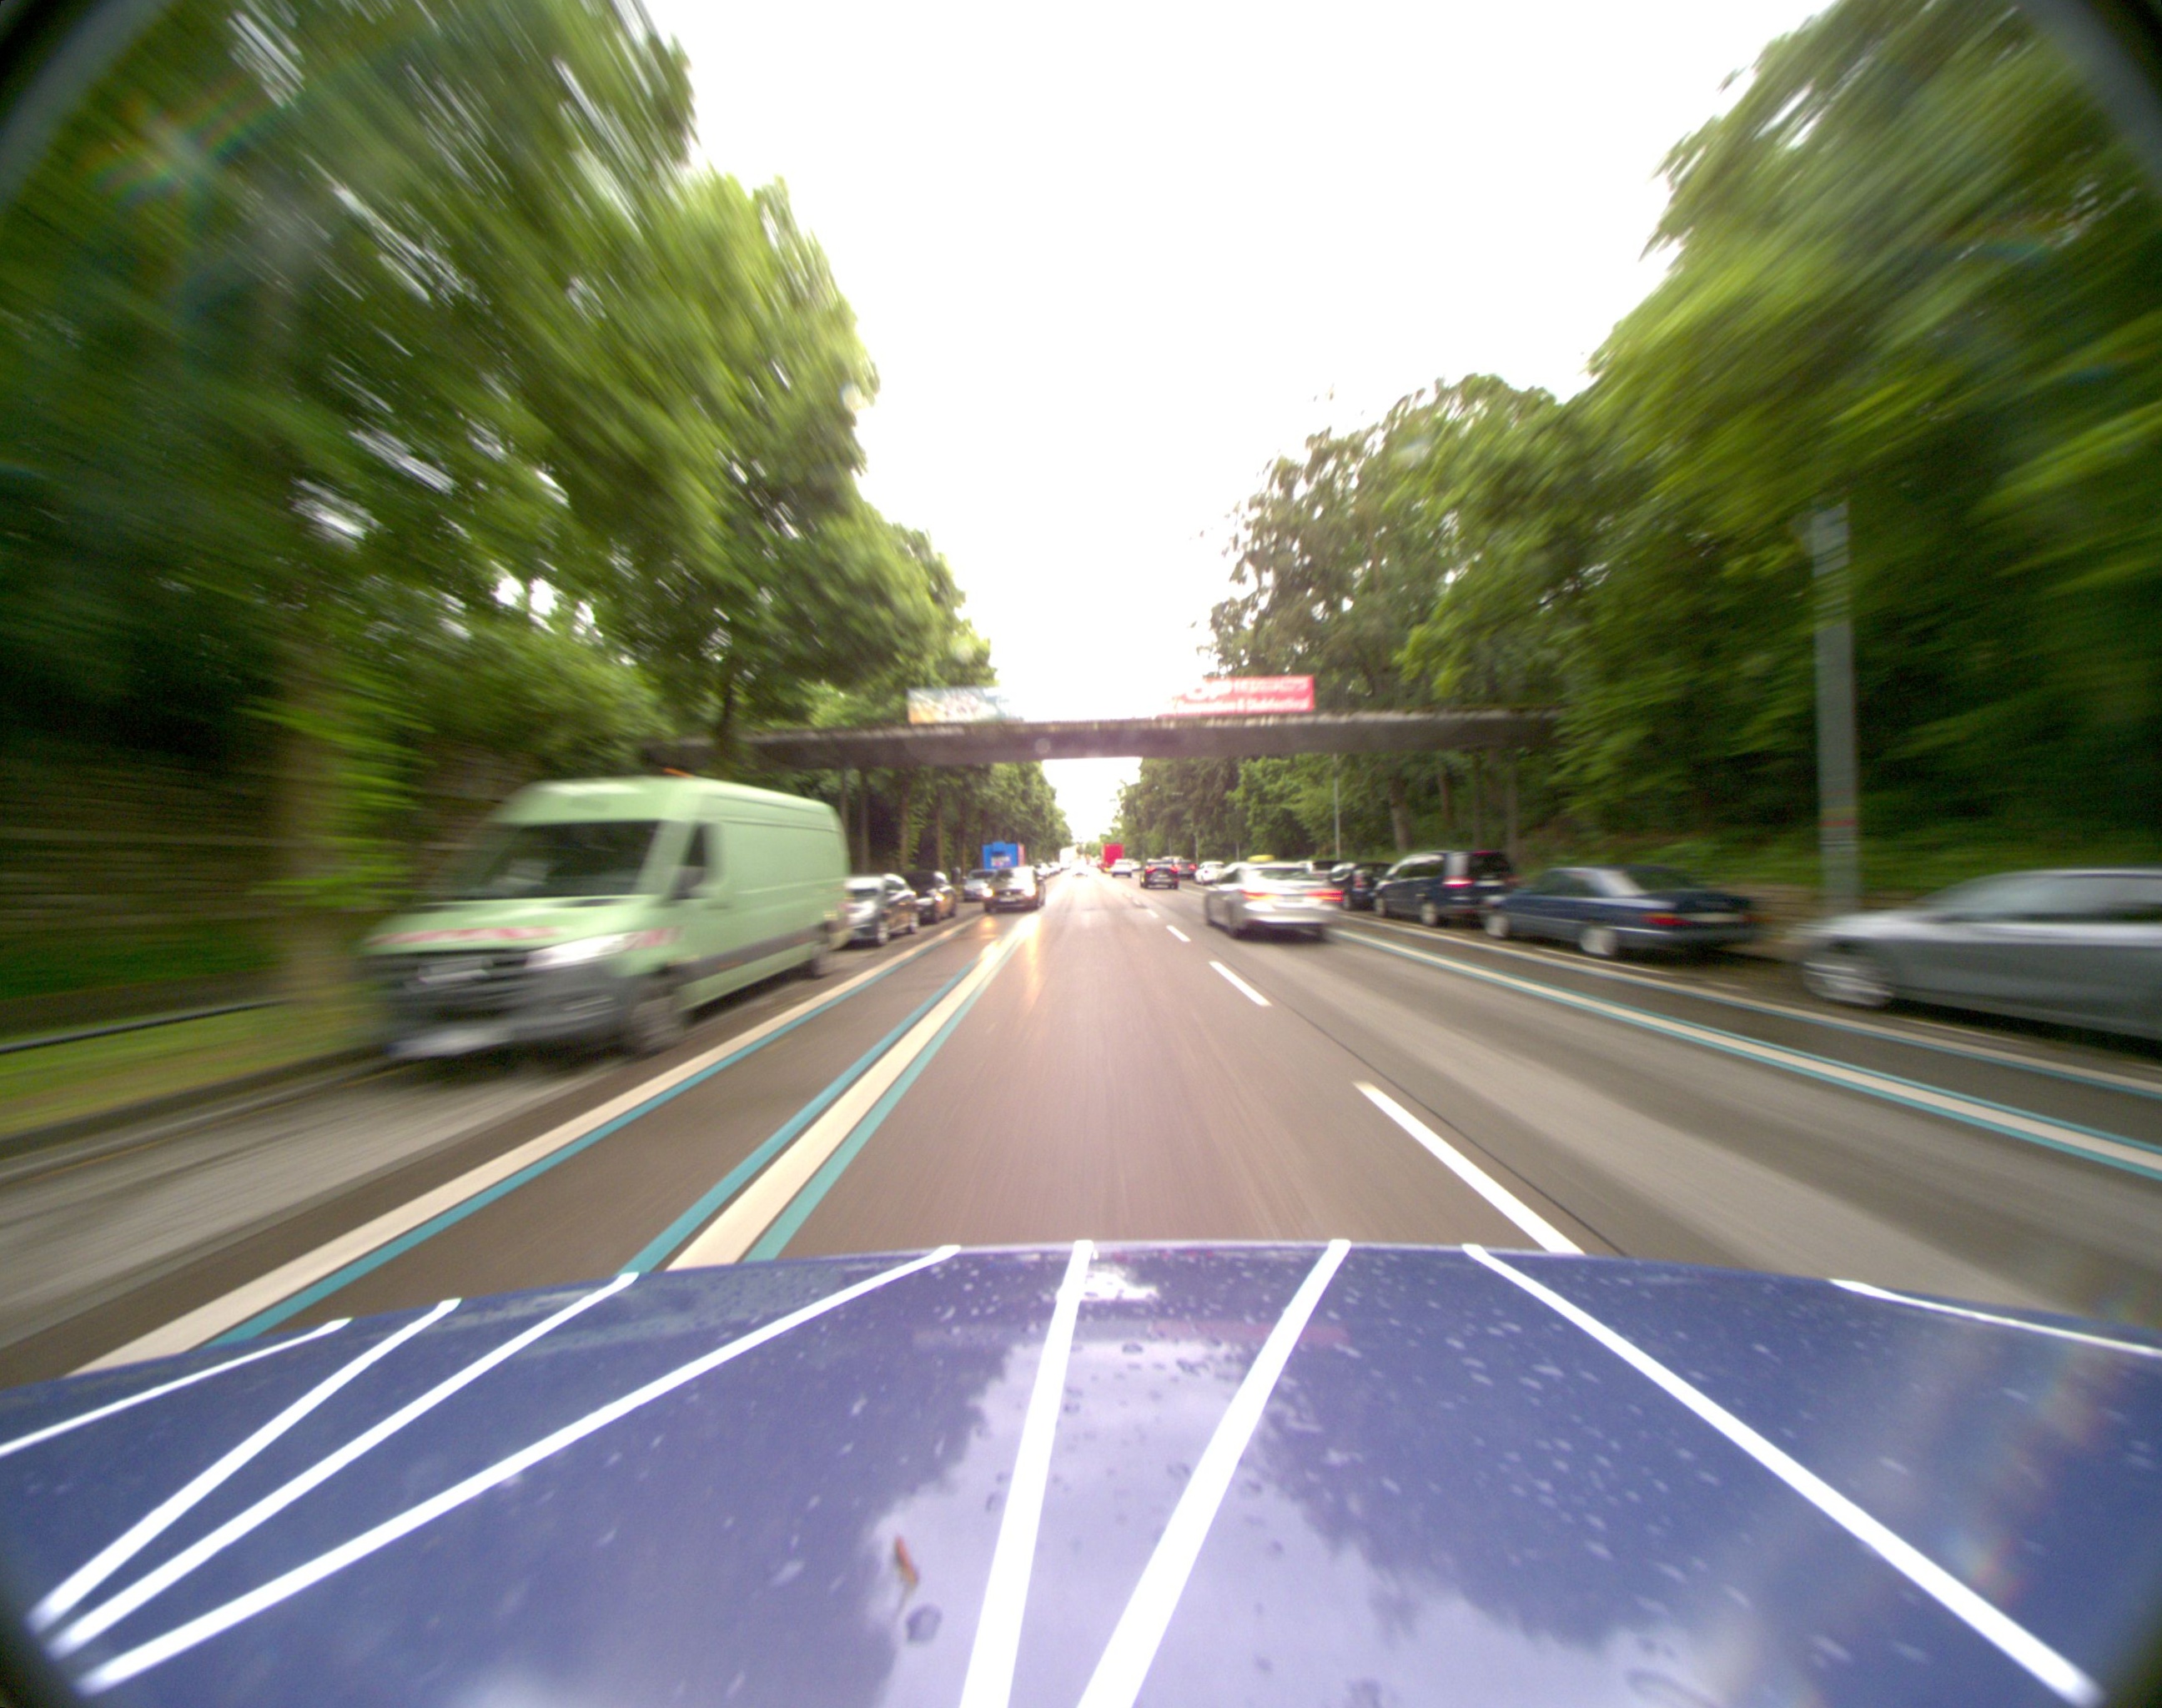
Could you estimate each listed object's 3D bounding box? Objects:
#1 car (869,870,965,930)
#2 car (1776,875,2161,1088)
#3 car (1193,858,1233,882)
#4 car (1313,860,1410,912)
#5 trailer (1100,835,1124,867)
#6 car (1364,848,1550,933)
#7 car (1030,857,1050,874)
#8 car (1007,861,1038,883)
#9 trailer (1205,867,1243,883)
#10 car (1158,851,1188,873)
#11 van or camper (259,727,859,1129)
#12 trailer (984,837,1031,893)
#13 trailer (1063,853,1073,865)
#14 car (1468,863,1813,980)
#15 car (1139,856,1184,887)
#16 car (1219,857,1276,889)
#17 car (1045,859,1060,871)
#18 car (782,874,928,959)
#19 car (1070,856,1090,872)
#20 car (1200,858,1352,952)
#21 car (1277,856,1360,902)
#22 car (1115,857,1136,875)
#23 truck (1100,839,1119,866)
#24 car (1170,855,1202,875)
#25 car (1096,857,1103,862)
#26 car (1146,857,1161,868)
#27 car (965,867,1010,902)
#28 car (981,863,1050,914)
[{"bbox_3d":[-4.516,1.219,21.507,1.690,1.408,4.197,-2,0,1],"label":"car"},{"bbox_3d":[8.475,0.928,6.141,1.788,1.415,4.296,-1,-1,1],"label":"car"},{"bbox_3d":[8.459,1.021,49.138,1.794,1.473,3.982,-1,-1,-1],"label":"car"},{"bbox_3d":[8.583,0.930,23.580,1.613,1.430,3.844,-1,-1,1],"label":"car"},{"bbox_3d":[4.303,-0.355,107.451,2.694,4.234,12.768,1,0,0],"label":"trailer"},{"bbox_3d":[8.718,0.790,18.214,1.995,1.731,4.838,-1,-1,0],"label":"car"},{"bbox_3d":[-4.150,1.156,78.050,1.758,1.587,4.740,-3,0,0],"label":"car"},{"bbox_3d":[-4.221,1.260,55.440,1.830,1.494,4.571,-1,0,0],"label":"car"},{"bbox_3d":[8.491,1.256,45.370,1.547,0.814,3.304,-2,0,-1],"label":"trailer"},{"bbox_3d":[8.999,0.799,74.871,1.979,1.993,5.017,-2,0,-4],"label":"car"},{"bbox_3d":[-4.652,0.532,8.762,2.047,2.713,6.900,-3,0,0],"label":"van or camper"},{"bbox_3d":[-3.802,0.538,40.097,1.957,2.742,4.007,-2,0,0],"label":"trailer"},{"bbox_3d":[-2.714,1.086,162.932,1.988,2.550,3.999,-2,0,-2],"label":"trailer"},{"bbox_3d":[8.632,0.924,12.481,1.989,1.464,4.897,-2,-1,0],"label":"car"},{"bbox_3d":[4.439,0.952,42.557,1.971,1.618,4.320,-1,0,-1],"label":"car"},{"bbox_3d":[8.363,0.937,38.562,1.836,1.468,4.040,-1,-1,-2],"label":"car"},{"bbox_3d":[-3.610,1.441,97.356,1.702,1.445,4.097,-3,0,-1],"label":"car"},{"bbox_3d":[-4.574,1.202,16.018,1.690,1.408,4.100,-2,0,2],"label":"car"},{"bbox_3d":[-0.081,1.088,80.689,1.998,1.588,4.000,-2,0,1],"label":"car"},{"bbox_3d":[3.687,0.882,15.273,1.926,1.551,4.620,0,0,1],"label":"car"},{"bbox_3d":[8.628,0.875,28.017,1.692,1.537,4.233,-1,-1,0],"label":"car"},{"bbox_3d":[4.314,1.169,73.931,1.838,1.656,4.180,1,0,0],"label":"car"},{"bbox_3d":[4.300,-0.204,115.116,2.524,4.023,4.916,1,0,0],"label":"truck"},{"bbox_3d":[9.034,0.917,65.687,2.015,1.596,4.779,-1,0,0],"label":"car"},{"bbox_3d":[5.994,1.872,245.669,1.959,1.629,4.445,0,0,0],"label":"car"},{"bbox_3d":[9.478,1.146,99.801,1.694,1.397,4.028,-2,-1,1],"label":"car"},{"bbox_3d":[-4.050,1.296,33.372,1.588,1.345,3.862,-3,0,-2],"label":"car"},{"bbox_3d":[-2.133,1.099,25.835,1.822,1.499,4.139,-2,0,1],"label":"car"}]
